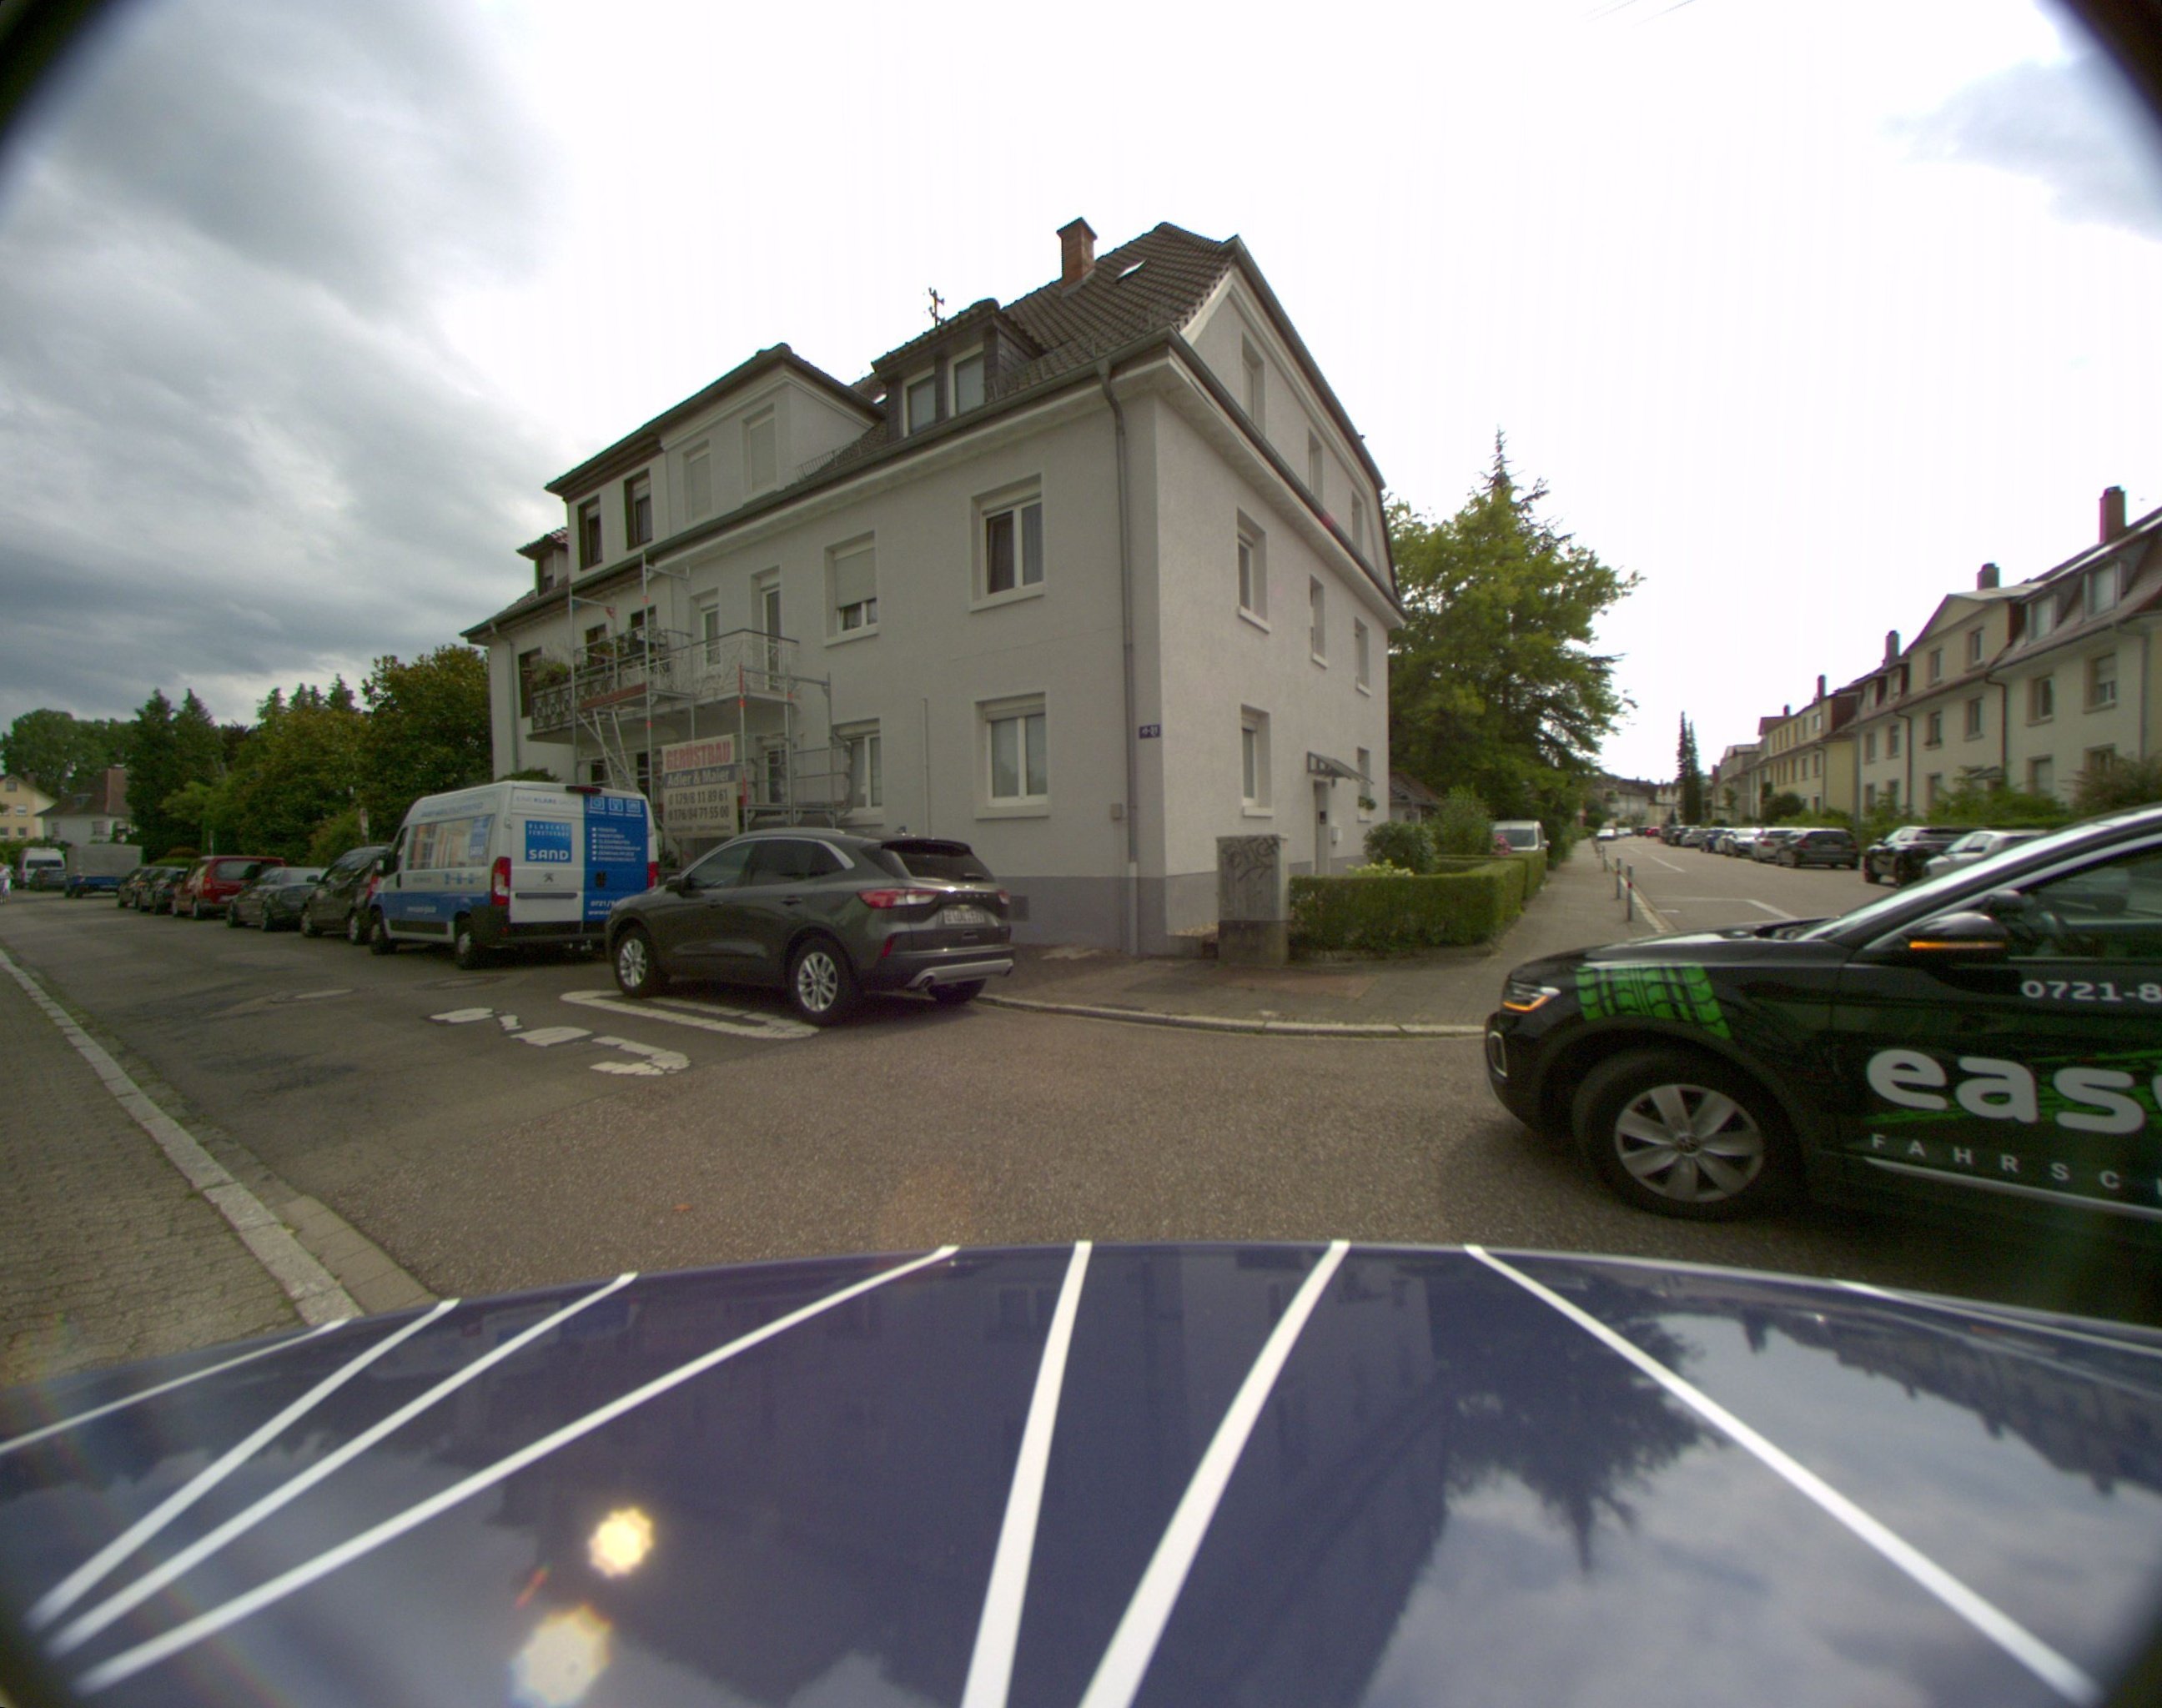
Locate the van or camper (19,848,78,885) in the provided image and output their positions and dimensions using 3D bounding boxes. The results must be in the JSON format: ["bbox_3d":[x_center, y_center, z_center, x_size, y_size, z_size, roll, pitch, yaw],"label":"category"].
[{"bbox_3d":[-74.528,0.848,54.830,5.000,2.527,2.152,0,2,34],"label":"van or camper"}]

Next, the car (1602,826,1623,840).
[{"bbox_3d":[68.017,-2.700,97.216,1.994,1.631,4.007,0,2,37],"label":"car"}]

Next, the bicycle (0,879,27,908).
[{"bbox_3d":[-45.846,1.676,32.516,1.868,1.146,0.708,-1,3,34],"label":"bicycle"}]

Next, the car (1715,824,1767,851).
[{"bbox_3d":[37.439,-0.960,43.191,1.854,1.463,4.183,0,2,35],"label":"car"}]

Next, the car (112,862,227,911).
[{"bbox_3d":[-33.382,1.146,27.812,4.330,1.582,2.003,0,2,31],"label":"car"}]

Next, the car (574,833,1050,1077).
[{"bbox_3d":[-2.683,0.714,7.374,4.330,1.717,2.003,0,2,31],"label":"car"}]

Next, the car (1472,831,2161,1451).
[{"bbox_3d":[3.568,0.679,2.083,1.825,1.511,4.033,-1,0,-35],"label":"car"}]

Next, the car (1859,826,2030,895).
[{"bbox_3d":[20.981,0.086,18.688,1.854,1.463,4.183,0,2,35],"label":"car"}]

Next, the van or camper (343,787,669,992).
[{"bbox_3d":[-8.665,0.410,11.340,5.040,2.445,2.203,0,2,33],"label":"van or camper"}]

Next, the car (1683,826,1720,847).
[{"bbox_3d":[46.768,-1.344,57.347,1.854,1.463,4.183,0,2,35],"label":"car"}]

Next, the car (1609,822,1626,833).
[{"bbox_3d":[85.294,-4.252,120.815,1.994,1.631,4.007,0,2,37],"label":"car"}]

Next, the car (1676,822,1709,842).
[{"bbox_3d":[49.562,-1.788,61.635,1.854,1.569,4.183,0,2,35],"label":"car"}]

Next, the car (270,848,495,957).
[{"bbox_3d":[-13.522,0.822,14.671,4.330,1.762,2.003,0,2,31],"label":"car"}]

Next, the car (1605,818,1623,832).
[{"bbox_3d":[75.340,-4.095,107.317,1.994,2.002,4.007,0,2,36],"label":"car"}]

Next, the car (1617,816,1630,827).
[{"bbox_3d":[111.271,-6.631,155.931,1.994,2.112,4.007,0,2,37],"label":"car"}]

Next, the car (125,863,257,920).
[{"bbox_3d":[-28.635,1.131,24.419,4.330,1.582,2.003,0,2,31],"label":"car"}]

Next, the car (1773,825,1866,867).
[{"bbox_3d":[27.594,-0.334,28.530,1.854,1.463,4.183,0,2,35],"label":"car"}]

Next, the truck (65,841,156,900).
[{"bbox_3d":[-47.369,0.763,37.076,4.571,2.642,2.140,0,2,32],"label":"truck"}]

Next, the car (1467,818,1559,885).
[{"bbox_3d":[13.057,-0.129,22.855,1.994,1.827,4.007,0,2,35],"label":"car"}]

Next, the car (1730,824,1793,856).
[{"bbox_3d":[33.714,-0.724,37.743,1.854,1.463,4.183,0,2,35],"label":"car"}]

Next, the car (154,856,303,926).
[{"bbox_3d":[-24.377,0.984,21.704,4.330,1.739,2.003,0,2,31],"label":"car"}]

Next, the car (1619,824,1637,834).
[{"bbox_3d":[94.411,-4.265,131.198,1.994,1.527,4.007,-2,1,43],"label":"car"}]

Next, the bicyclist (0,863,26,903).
[{"bbox_3d":[-45.922,1.224,32.556,0.972,1.657,0.700,-1,3,34],"label":"bicyclist"}]

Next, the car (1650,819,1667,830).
[{"bbox_3d":[84.338,-4.300,111.021,1.854,1.569,4.183,0,2,35],"label":"car"}]

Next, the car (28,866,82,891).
[{"bbox_3d":[-64.520,1.504,47.766,3.988,1.368,1.830,0,2,35],"label":"car"}]

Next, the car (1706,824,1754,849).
[{"bbox_3d":[39.899,-1.115,46.802,1.854,1.463,4.183,0,2,35],"label":"car"}]

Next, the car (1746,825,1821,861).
[{"bbox_3d":[30.467,-0.520,33.059,1.854,1.463,4.183,0,2,35],"label":"car"}]

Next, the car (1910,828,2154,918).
[{"bbox_3d":[18.159,0.262,14.793,1.854,1.463,4.183,0,2,35],"label":"car"}]

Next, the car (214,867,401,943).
[{"bbox_3d":[-17.759,1.071,17.413,4.330,1.447,2.003,0,2,31],"label":"car"}]

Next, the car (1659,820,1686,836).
[{"bbox_3d":[60.413,-2.685,77.670,1.854,1.569,4.182,0,2,34],"label":"car"}]
